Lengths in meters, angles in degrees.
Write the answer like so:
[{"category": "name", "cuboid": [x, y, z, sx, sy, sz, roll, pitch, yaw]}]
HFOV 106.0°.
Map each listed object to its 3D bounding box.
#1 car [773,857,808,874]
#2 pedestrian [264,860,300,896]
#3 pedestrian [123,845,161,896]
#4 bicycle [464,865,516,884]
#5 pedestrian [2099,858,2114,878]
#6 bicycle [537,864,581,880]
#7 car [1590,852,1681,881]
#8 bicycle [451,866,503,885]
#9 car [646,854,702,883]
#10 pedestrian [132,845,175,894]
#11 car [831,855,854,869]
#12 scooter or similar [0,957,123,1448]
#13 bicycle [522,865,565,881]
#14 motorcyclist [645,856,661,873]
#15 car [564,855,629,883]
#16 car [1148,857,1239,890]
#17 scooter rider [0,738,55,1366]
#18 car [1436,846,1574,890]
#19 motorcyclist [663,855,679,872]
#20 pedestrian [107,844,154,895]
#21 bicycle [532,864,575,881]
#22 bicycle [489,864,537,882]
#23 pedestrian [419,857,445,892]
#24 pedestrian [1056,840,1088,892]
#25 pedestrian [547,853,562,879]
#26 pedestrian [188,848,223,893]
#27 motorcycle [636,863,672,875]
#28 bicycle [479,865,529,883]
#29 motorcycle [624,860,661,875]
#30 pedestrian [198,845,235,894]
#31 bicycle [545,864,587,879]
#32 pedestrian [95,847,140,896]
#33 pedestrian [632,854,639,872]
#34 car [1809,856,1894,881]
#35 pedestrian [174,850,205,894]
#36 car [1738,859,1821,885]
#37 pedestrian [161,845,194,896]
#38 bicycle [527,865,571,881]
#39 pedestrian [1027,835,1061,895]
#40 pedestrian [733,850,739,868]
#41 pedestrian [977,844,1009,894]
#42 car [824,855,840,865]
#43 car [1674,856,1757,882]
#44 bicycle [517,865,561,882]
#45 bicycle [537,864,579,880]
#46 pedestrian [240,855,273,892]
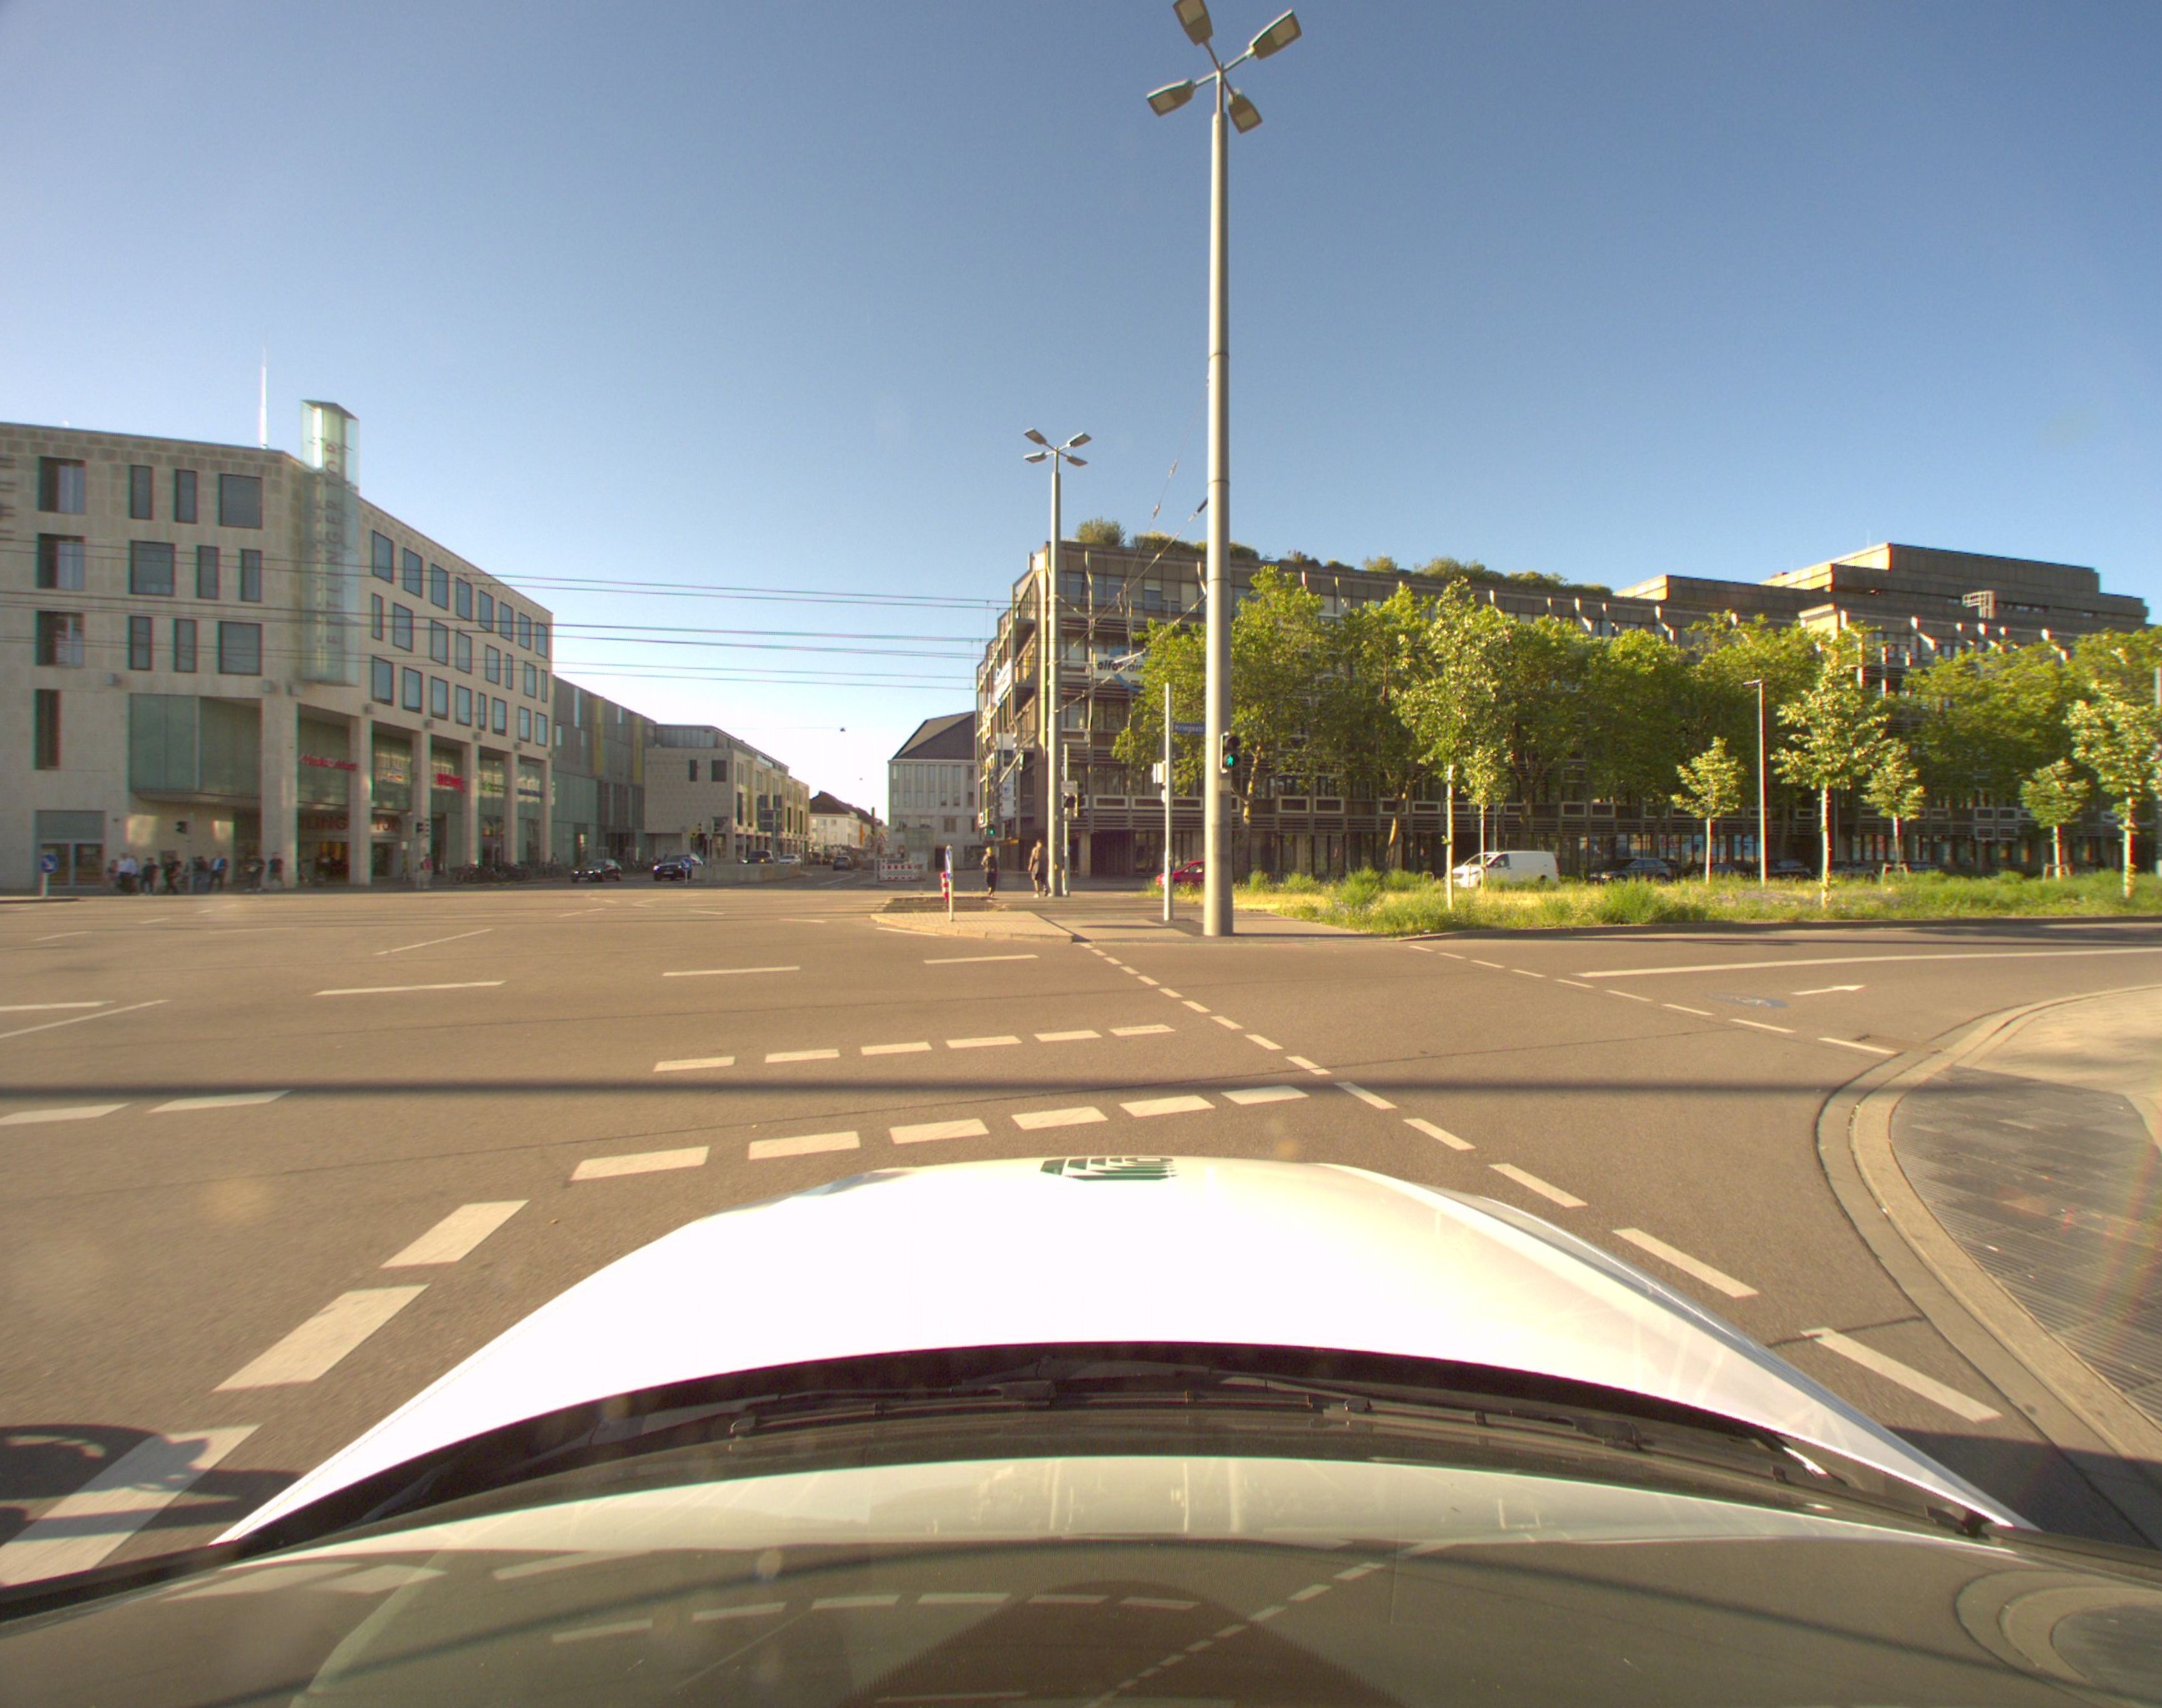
[{"category": "car", "cuboid": [-29.497, 1.159, 82.930, 2.172, 1.692, 5.601, 0, -1, -7]}, {"category": "pedestrian", "cuboid": [-35.975, 1.075, 36.674, 0.831, 1.571, 0.951, 0, 0, 30]}, {"category": "pedestrian", "cuboid": [-39.427, 0.685, 34.207, 0.903, 2.124, 0.935, 1, -1, -42]}, {"category": "bicycle", "cuboid": [-35.620, 1.233, 49.111, 2.465, 1.110, 0.682, 0, 0, -7]}, {"category": "pedestrian", "cuboid": [79.707, 1.115, 63.282, 0.653, 1.532, 0.658, 1, -1, -44]}, {"category": "bicycle", "cuboid": [-36.799, 1.283, 57.439, 2.465, 1.110, 0.833, 0, 0, -7]}, {"category": "car", "cuboid": [33.841, 0.778, 49.711, 4.862, 1.680, 1.989, 0, 1, -16]}, {"category": "bicycle", "cuboid": [-35.432, 1.244, 47.782, 2.401, 1.113, 0.656, 0, 0, -8]}, {"category": "car", "cuboid": [-24.472, 0.859, 49.105, 1.939, 1.677, 4.277, 0, 0, -11]}, {"category": "pedestrian", "cuboid": [-40.975, 0.673, 35.988, 0.899, 2.124, 0.940, 0, 0, -22]}, {"category": "car", "cuboid": [-26.034, 0.844, 88.944, 1.937, 1.450, 4.246, 0, -1, -11]}, {"category": "scooter or similar", "cuboid": [-2.884, 0.871, 1.487, 0.642, 1.175, 1.478, 1, 0, -10]}, {"category": "bicycle", "cuboid": [-36.376, 1.286, 55.158, 2.465, 1.110, 0.536, 0, 0, -7]}, {"category": "motorcyclist", "cuboid": [-38.529, 0.923, 73.302, 1.038, 1.471, 0.912, 2, -1, -14]}, {"category": "car", "cuboid": [-29.659, 0.887, 50.021, 1.937, 1.581, 4.281, 0, 0, -9]}, {"category": "car", "cuboid": [5.258, 0.924, 38.366, 3.870, 1.486, 1.838, 0, -3, -12]}, {"category": "scooter rider", "cuboid": [-2.882, 0.486, 1.487, 0.642, 1.544, 1.113, 1, 0, -10]}, {"category": "car", "cuboid": [19.953, 0.672, 38.434, 5.697, 2.014, 2.255, 0, -2, -14]}, {"category": "motorcyclist", "cuboid": [-38.665, 0.912, 76.791, 1.138, 1.575, 0.912, 2, -1, -14]}, {"category": "pedestrian", "cuboid": [-40.643, 0.661, 34.834, 0.895, 2.124, 0.944, 0, 0, -10]}, {"category": "bicycle", "cuboid": [-36.611, 1.282, 56.552, 2.465, 1.110, 0.682, 0, 0, -7]}, {"category": "bicycle", "cuboid": [-35.748, 1.218, 51.282, 2.465, 1.110, 0.682, 0, 0, -7]}, {"category": "pedestrian", "cuboid": [-33.029, 1.036, 41.468, 0.751, 1.740, 0.754, 0, 0, -10]}, {"category": "pedestrian", "cuboid": [-0.333, 0.433, 30.444, 1.005, 1.911, 1.054, 0, 0, 10]}, {"category": "pedestrian", "cuboid": [-41.481, 0.923, 64.173, 0.952, 1.982, 0.998, 1, 0, -31]}, {"category": "pedestrian", "cuboid": [-39.575, 0.741, 36.812, 0.921, 2.014, 1.012, 1, -1, -39]}, {"category": "motorcycle", "cuboid": [-38.462, 1.323, 73.330, 2.672, 0.996, 0.912, 2, -1, -15]}, {"category": "bicycle", "cuboid": [-35.743, 1.227, 50.469, 2.464, 1.110, 0.683, 0, 0, -5]}, {"category": "motorcycle", "cuboid": [-38.218, 1.205, 70.983, 2.672, 1.217, 0.912, 2, -1, -15]}, {"category": "pedestrian", "cuboid": [-38.222, 0.671, 36.021, 1.084, 2.129, 1.069, 0, 0, 45]}, {"category": "bicycle", "cuboid": [-37.609, 1.279, 59.468, 2.465, 1.110, 0.833, 0, 0, -7]}, {"category": "pedestrian", "cuboid": [-41.994, 0.744, 35.498, 0.899, 2.124, 0.940, 0, 0, -23]}, {"category": "pedestrian", "cuboid": [-49.612, 0.977, 90.672, 0.618, 2.014, 0.475, 2, -1, -22]}, {"category": "car", "cuboid": [51.200, 0.956, 54.129, 4.350, 1.633, 1.909, 0, -2, -12]}, {"category": "pedestrian", "cuboid": [-40.989, 0.819, 37.440, 1.011, 2.014, 0.922, 0, -1, 43]}, {"category": "car", "cuboid": [44.842, 1.128, 52.297, 4.615, 1.557, 1.741, 0, 1, -15]}, {"category": "pedestrian", "cuboid": [-38.739, 0.686, 34.922, 0.935, 2.124, 0.904, 0, -1, 42]}, {"category": "bicycle", "cuboid": [-36.453, 1.289, 55.793, 2.465, 1.110, 0.682, 0, 0, -7]}, {"category": "pedestrian", "cuboid": [-1.100, 0.308, 24.100, 0.857, 1.744, 0.735, 0, 1, -15]}, {"category": "pedestrian", "cuboid": [-40.453, 0.582, 95.521, 0.618, 2.014, 0.475, 2, -1, -22]}, {"category": "pedestrian", "cuboid": [-2.776, 0.453, 25.706, 0.897, 1.549, 0.920, 0, 1, -14]}, {"category": "car", "cuboid": [-45.881, 1.136, 149.892, 2.175, 1.873, 5.594, 0, -1, -11]}, {"category": "car", "cuboid": [39.672, 0.921, 50.974, 3.987, 1.521, 1.993, 0, 1, -10]}, {"category": "bicycle", "cuboid": [-36.295, 1.285, 54.580, 2.465, 1.110, 0.592, 0, 0, -7]}, {"category": "bicycle", "cuboid": [-37.363, 1.278, 58.242, 2.465, 1.110, 0.682, 0, 0, -7]}, {"category": "pedestrian", "cuboid": [-37.879, 0.888, 37.412, 0.936, 1.651, 1.014, 0, 0, 42]}]
